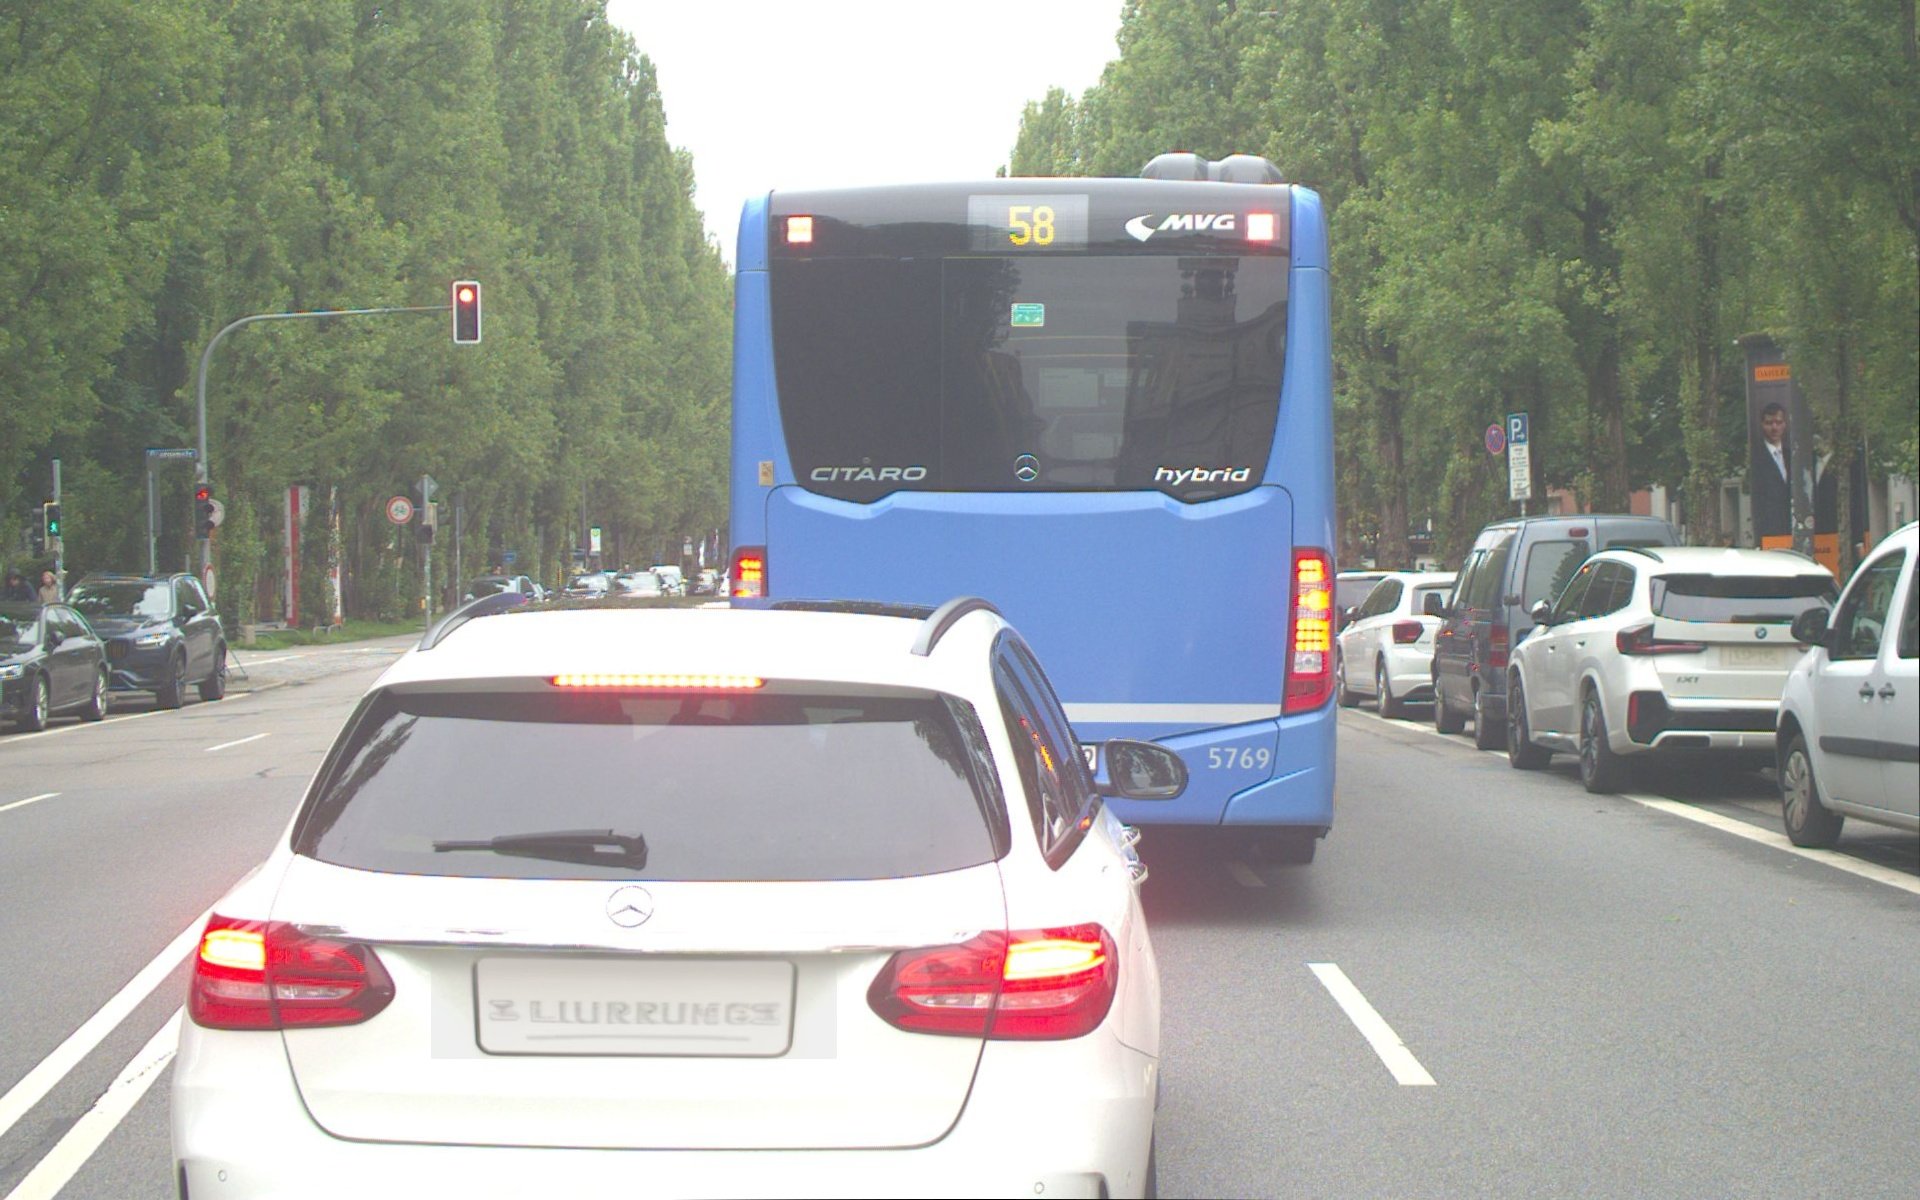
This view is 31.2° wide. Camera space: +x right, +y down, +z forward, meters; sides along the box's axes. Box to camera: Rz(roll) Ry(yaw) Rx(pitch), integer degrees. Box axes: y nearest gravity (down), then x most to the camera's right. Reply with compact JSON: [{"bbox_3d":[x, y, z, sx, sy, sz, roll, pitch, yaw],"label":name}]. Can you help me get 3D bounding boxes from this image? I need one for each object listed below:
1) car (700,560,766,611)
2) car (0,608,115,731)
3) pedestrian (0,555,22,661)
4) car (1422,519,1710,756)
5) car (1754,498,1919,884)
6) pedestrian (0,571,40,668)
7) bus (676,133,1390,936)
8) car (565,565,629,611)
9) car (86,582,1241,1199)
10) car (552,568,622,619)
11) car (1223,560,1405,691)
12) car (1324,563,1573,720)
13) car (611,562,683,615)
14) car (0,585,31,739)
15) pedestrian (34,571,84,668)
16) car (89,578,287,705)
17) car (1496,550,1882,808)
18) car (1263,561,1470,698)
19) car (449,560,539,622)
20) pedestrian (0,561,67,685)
[{"bbox_3d":[-7.398,-0.481,112.486,1.993,1.614,4.000,-1,1,-2],"label":"car"},{"bbox_3d":[-10.804,0.771,39.458,1.289,1.269,3.849,-1,1,-1],"label":"car"},{"bbox_3d":[-16.001,0.130,56.956,0.702,1.730,0.810,-1,1,-2],"label":"pedestrian"},{"bbox_3d":[4.987,0.262,28.768,1.703,1.829,4.000,0,1,0],"label":"car"},{"bbox_3d":[5.295,0.426,16.425,1.833,1.767,4.231,1,1,-2],"label":"car"},{"bbox_3d":[-19.783,0.406,71.958,0.830,2.007,0.778,-1,1,-3],"label":"pedestrian"},{"bbox_3d":[0.677,-0.323,18.340,2.856,3.202,9.058,0,1,5],"label":"bus"},{"bbox_3d":[-12.103,-0.422,114.864,1.821,1.481,4.000,-1,1,-2],"label":"car"},{"bbox_3d":[-0.434,0.697,7.723,1.826,1.449,4.582,0,1,1],"label":"car"},{"bbox_3d":[-11.454,-0.221,105.754,1.821,1.481,4.000,-1,1,-2],"label":"car"},{"bbox_3d":[4.623,0.301,45.427,1.808,1.612,4.001,-1,1,-2],"label":"car"},{"bbox_3d":[4.918,0.378,35.124,1.798,1.470,4.000,-1,1,-2],"label":"car"},{"bbox_3d":[-9.126,-0.356,100.472,1.821,1.481,4.000,-1,1,-2],"label":"car"},{"bbox_3d":[-10.522,0.659,33.968,1.708,1.542,4.000,-2,1,-2],"label":"car"},{"bbox_3d":[-18.885,0.398,72.065,0.830,2.007,0.778,-1,1,-3],"label":"pedestrian"},{"bbox_3d":[-10.085,0.509,45.178,1.707,1.546,4.000,-1,1,-1],"label":"car"},{"bbox_3d":[4.874,0.464,23.522,1.677,1.590,4.087,1,1,-1],"label":"car"},{"bbox_3d":[4.701,0.304,40.264,1.785,1.486,4.000,-1,1,-2],"label":"car"},{"bbox_3d":[-11.671,-0.238,86.301,1.821,1.481,4.000,-1,1,-2],"label":"car"},{"bbox_3d":[-13.459,0.322,49.709,0.821,1.758,1.081,-1,1,-3],"label":"pedestrian"}]
